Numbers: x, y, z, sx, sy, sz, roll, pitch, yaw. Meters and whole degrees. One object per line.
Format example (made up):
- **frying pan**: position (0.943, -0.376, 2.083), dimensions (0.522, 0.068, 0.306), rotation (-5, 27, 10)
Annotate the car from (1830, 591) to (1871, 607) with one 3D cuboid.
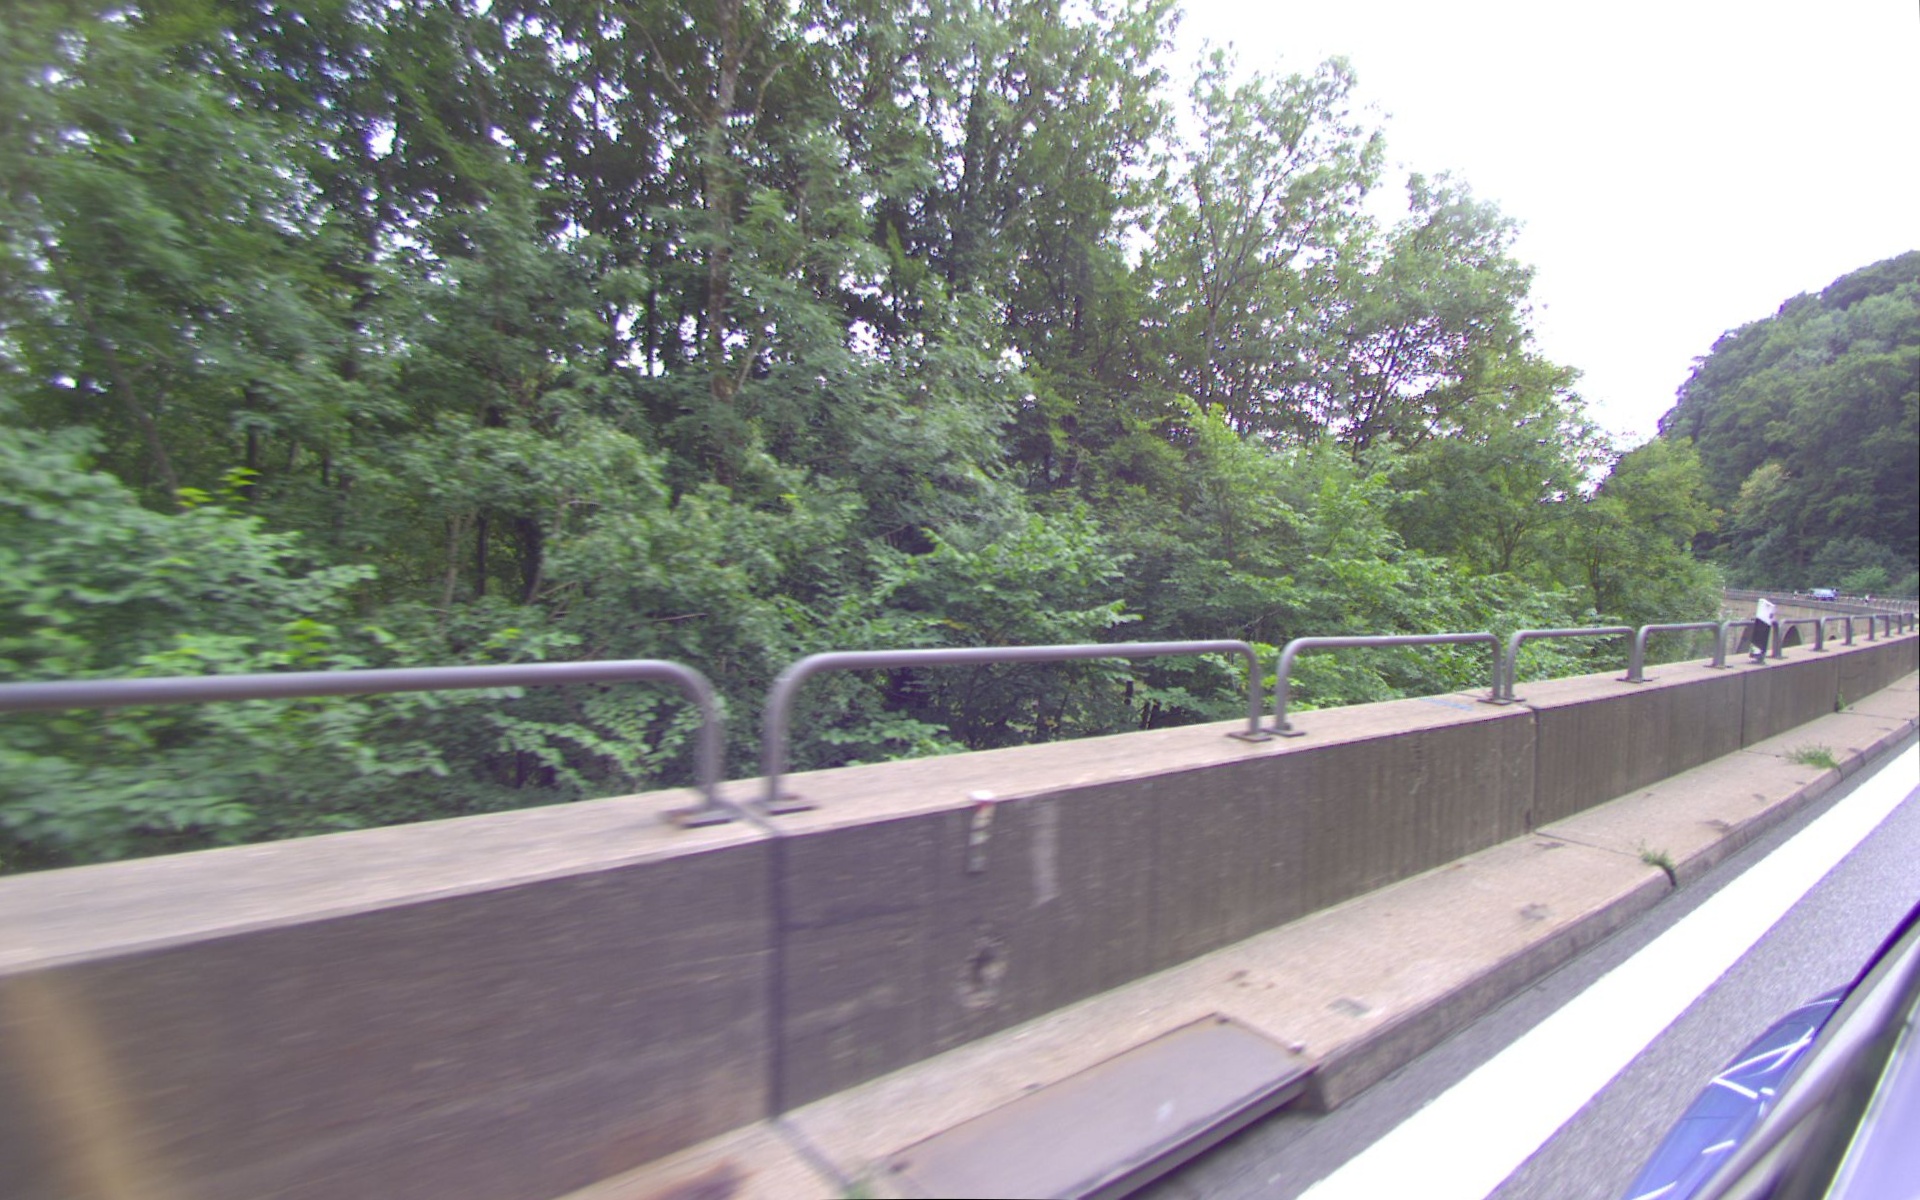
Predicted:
- **car**: position (77.073, -0.105, 87.652), dimensions (1.873, 1.335, 3.959), rotation (1, 2, 30)
